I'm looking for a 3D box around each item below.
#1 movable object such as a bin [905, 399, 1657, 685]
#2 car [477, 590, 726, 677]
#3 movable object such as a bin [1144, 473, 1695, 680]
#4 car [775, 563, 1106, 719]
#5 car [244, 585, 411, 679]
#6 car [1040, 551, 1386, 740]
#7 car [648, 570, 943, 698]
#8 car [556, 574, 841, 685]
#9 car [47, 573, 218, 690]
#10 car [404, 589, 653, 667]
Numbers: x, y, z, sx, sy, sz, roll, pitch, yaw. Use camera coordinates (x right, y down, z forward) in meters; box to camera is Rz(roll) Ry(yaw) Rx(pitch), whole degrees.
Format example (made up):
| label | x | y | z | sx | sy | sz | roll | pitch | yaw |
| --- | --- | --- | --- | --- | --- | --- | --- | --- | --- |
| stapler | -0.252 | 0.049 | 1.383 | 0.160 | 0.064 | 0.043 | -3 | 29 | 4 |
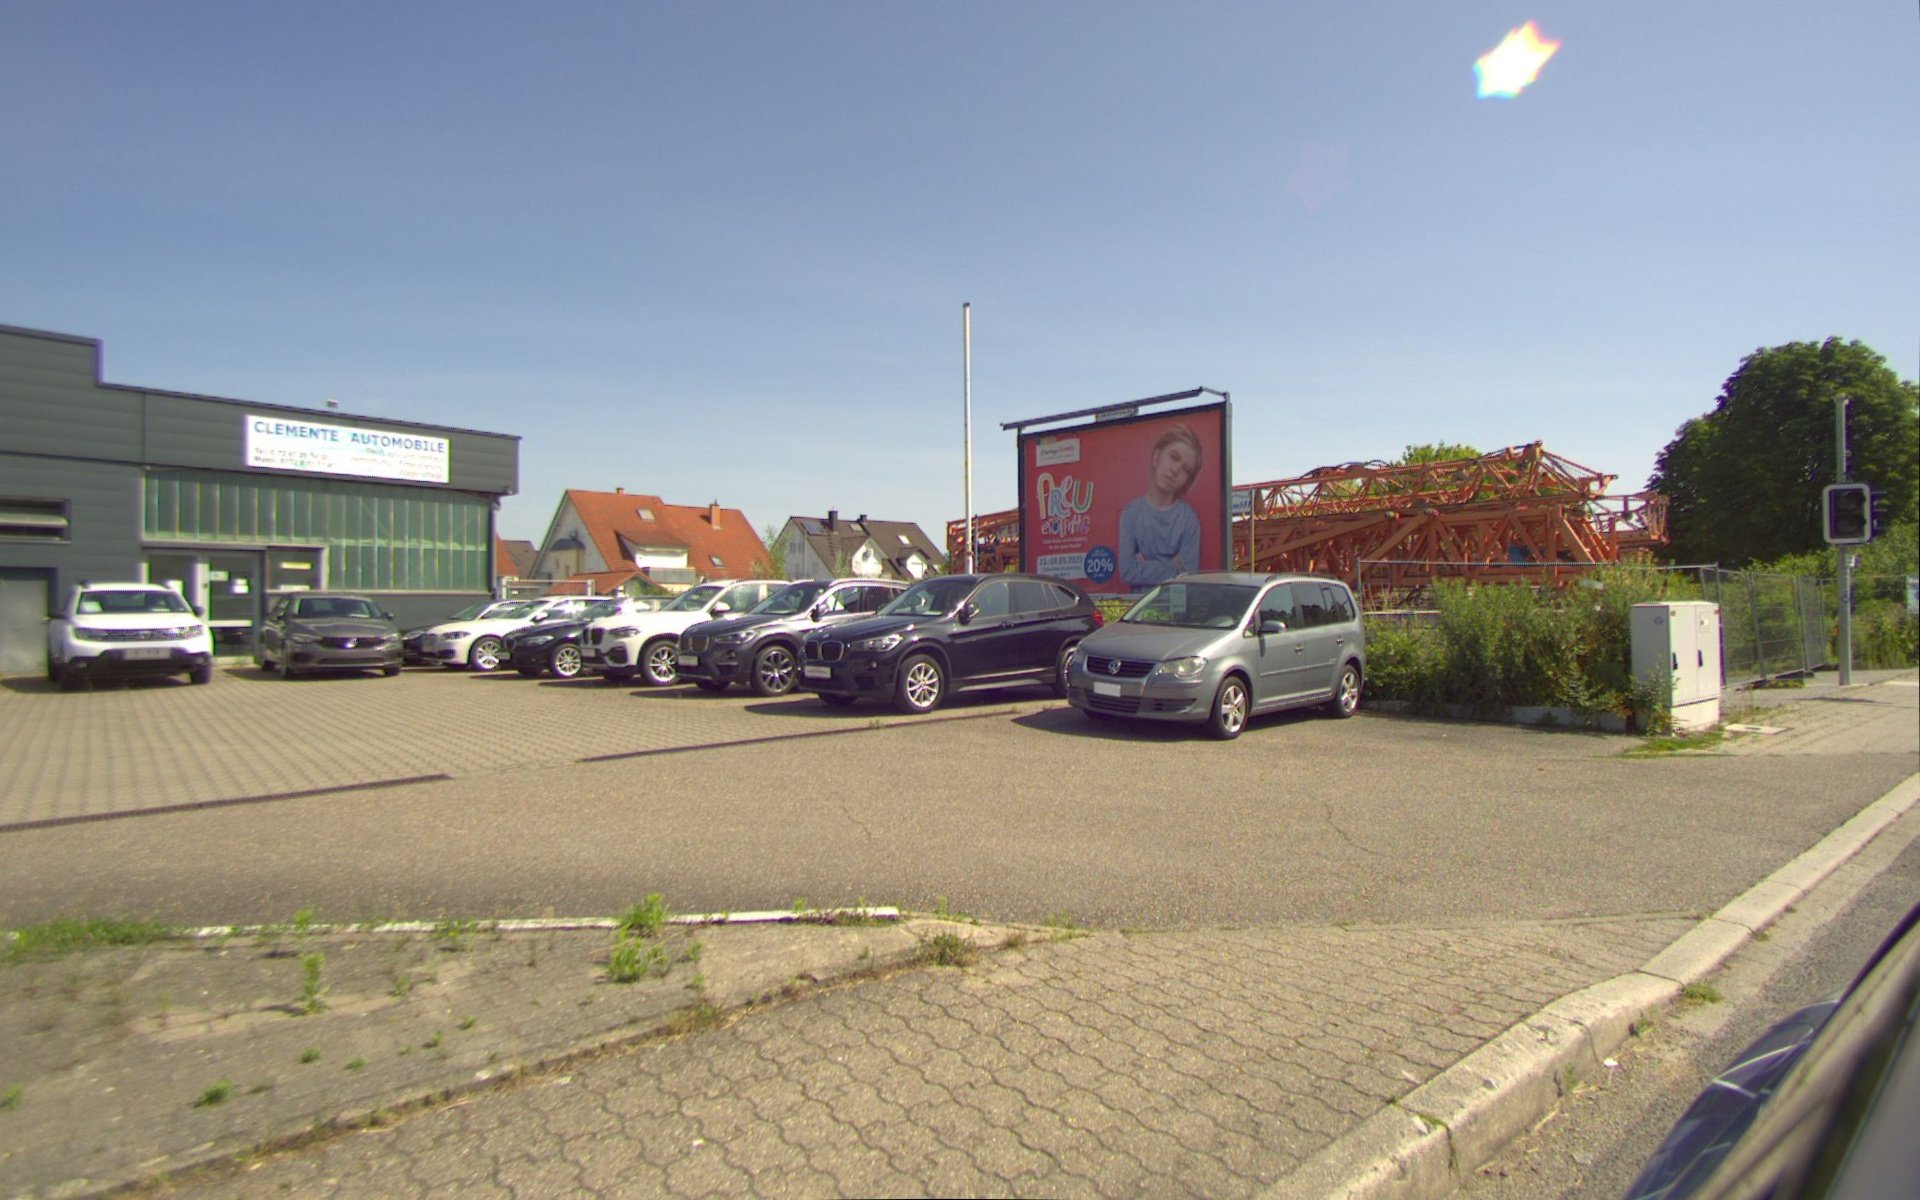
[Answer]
| label | x | y | z | sx | sy | sz | roll | pitch | yaw |
| --- | --- | --- | --- | --- | --- | --- | --- | --- | --- |
| movable object such as a bin | 4.864 | -0.887 | 21.349 | 2.725 | 4.069 | 16.076 | 0 | 0 | -41 |
| car | -6.475 | 0.529 | 18.556 | 1.840 | 1.404 | 3.939 | 0 | 1 | 43 |
| movable object such as a bin | 10.977 | -0.532 | 26.605 | 2.813 | 4.218 | 13.274 | 0 | 0 | -41 |
| car | -0.114 | 0.392 | 12.603 | 1.969 | 1.612 | 3.939 | 0 | 1 | 43 |
| car | -11.372 | 0.490 | 18.102 | 1.782 | 1.492 | 3.680 | -1 | 1 | -45 |
| car | 2.986 | 0.419 | 11.314 | 1.805 | 1.707 | 4.298 | 2 | 0 | 44 |
| car | -2.300 | 0.401 | 14.897 | 1.840 | 1.612 | 4.043 | 0 | 1 | 42 |
| car | -4.257 | 0.394 | 16.963 | 1.998 | 1.612 | 4.272 | 0 | 1 | 43 |
| car | -13.473 | 0.423 | 16.386 | 1.782 | 1.654 | 4.142 | -1 | 1 | -45 |
| car | -8.632 | 0.488 | 20.537 | 1.840 | 1.404 | 4.309 | 0 | 1 | 42 |
